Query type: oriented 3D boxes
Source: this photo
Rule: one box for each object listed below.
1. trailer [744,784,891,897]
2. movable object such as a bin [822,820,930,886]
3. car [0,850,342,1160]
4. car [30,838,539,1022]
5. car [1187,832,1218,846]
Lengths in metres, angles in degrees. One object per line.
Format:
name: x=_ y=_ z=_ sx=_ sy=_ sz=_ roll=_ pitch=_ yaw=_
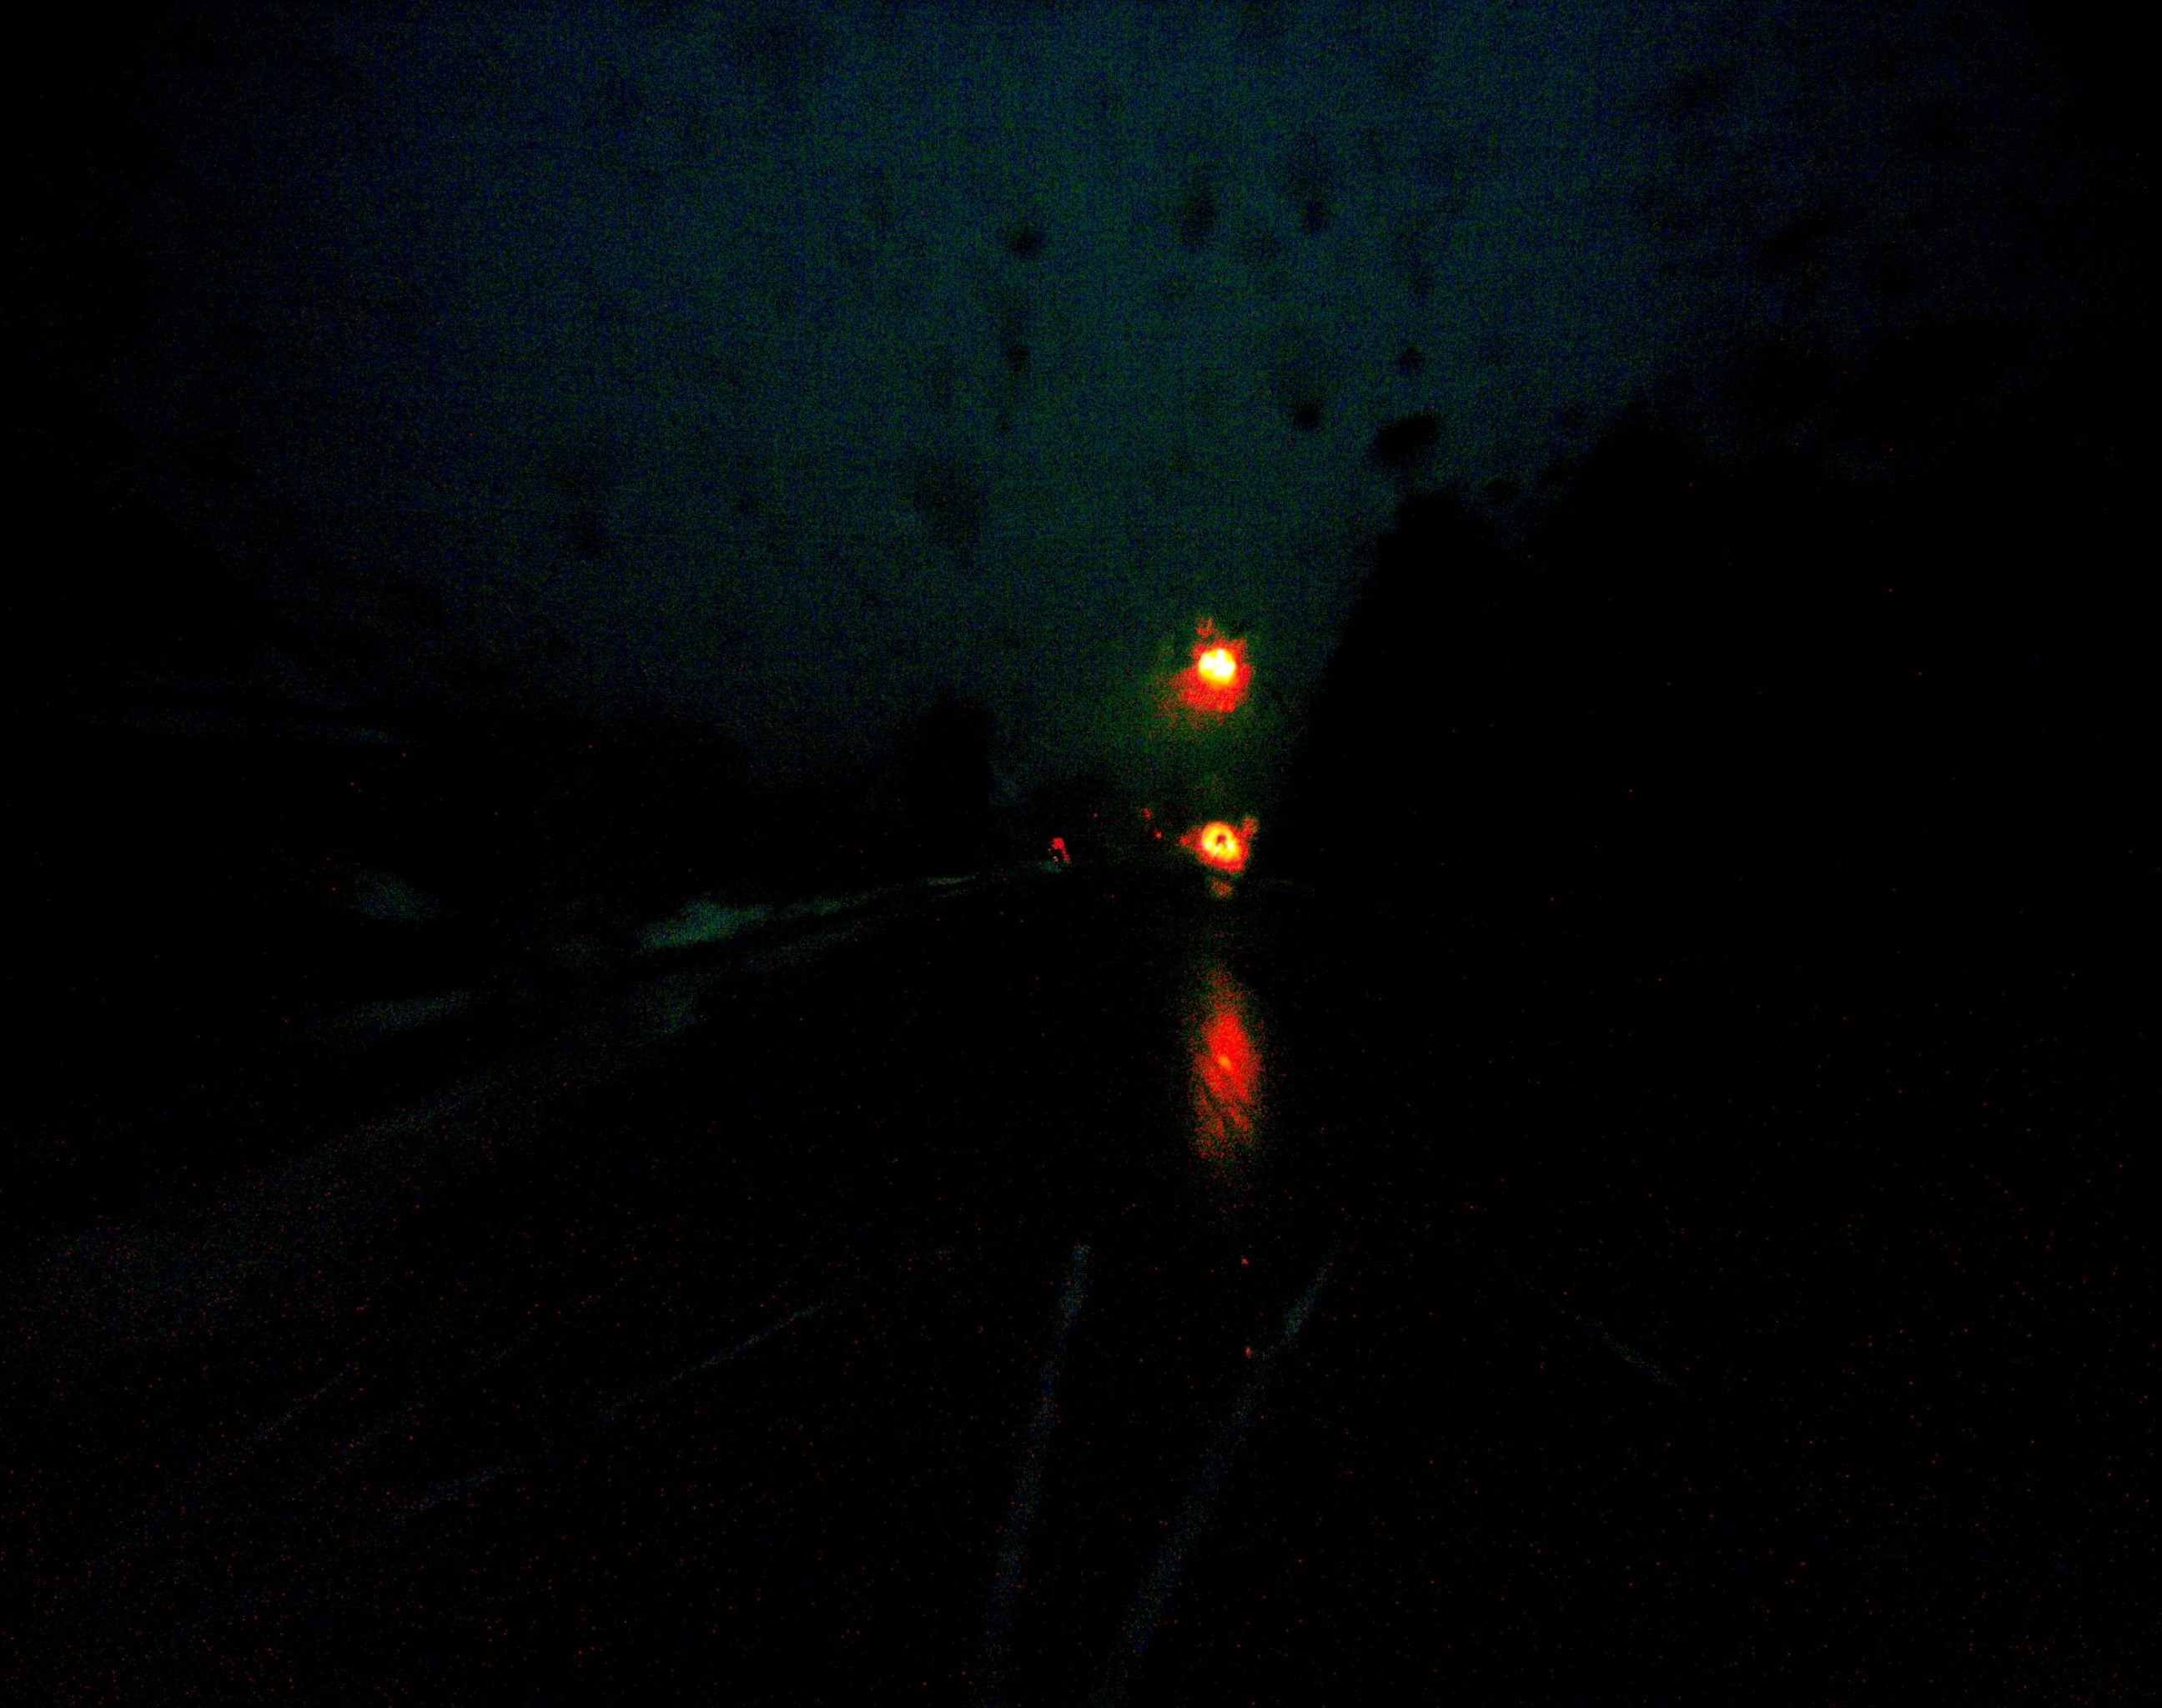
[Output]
trailer: x=-8.977 y=-0.501 z=26.564 sx=2.881 sy=3.541 sz=5.062 roll=-1 pitch=2 yaw=6
movable object such as a bin: x=-8.255 y=-0.107 z=31.145 sx=2.391 sy=2.455 sz=4.518 roll=-1 pitch=2 yaw=12
car: x=-7.605 y=0.788 z=4.927 sx=4.165 sy=1.550 sz=1.947 roll=1 pitch=2 yaw=10
car: x=-8.459 y=0.653 z=8.196 sx=4.248 sy=1.550 sz=2.002 roll=1 pitch=1 yaw=15
car: x=18.207 y=-2.269 z=114.238 sx=4.206 sy=1.849 sz=1.914 roll=3 pitch=5 yaw=35
